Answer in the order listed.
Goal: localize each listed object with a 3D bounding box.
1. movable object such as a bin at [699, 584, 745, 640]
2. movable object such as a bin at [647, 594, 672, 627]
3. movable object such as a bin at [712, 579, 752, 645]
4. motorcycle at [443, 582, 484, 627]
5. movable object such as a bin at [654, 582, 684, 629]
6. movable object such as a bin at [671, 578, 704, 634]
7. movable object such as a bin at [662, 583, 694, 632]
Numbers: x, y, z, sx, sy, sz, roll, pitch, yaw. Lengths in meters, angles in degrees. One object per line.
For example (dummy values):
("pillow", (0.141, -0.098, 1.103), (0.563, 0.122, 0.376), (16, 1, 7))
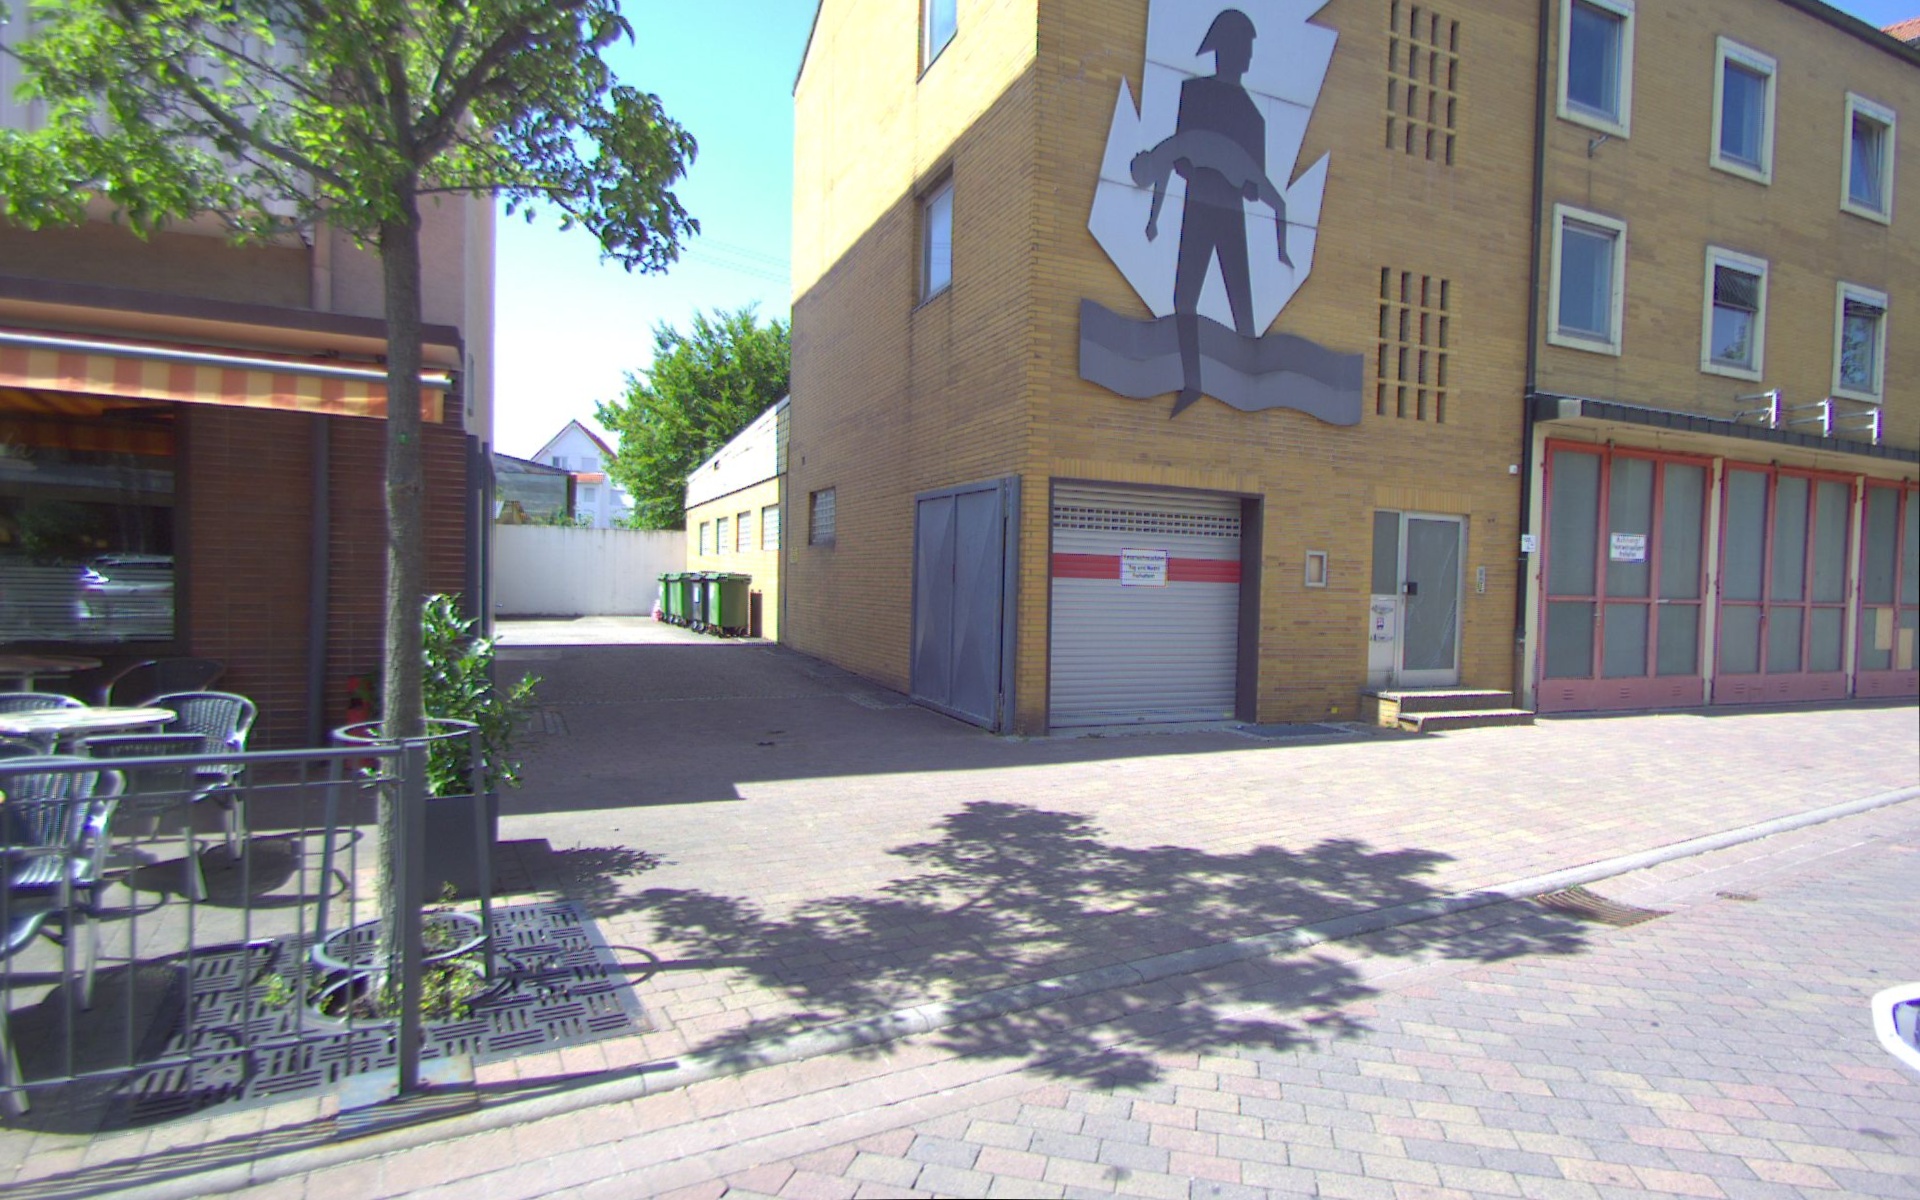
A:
("movable object such as a bin", (-5.153, 0.262, 21.728), (0.873, 1.193, 0.523), (0, 1, -26))
("movable object such as a bin", (-8.160, 0.290, 27.279), (0.613, 0.888, 0.567), (1, 1, -22))
("movable object such as a bin", (-4.660, 0.250, 20.531), (0.722, 1.325, 0.476), (0, 1, -24))
("motorcycle", (-12.985, 0.095, 26.318), (0.797, 1.123, 2.209), (1, 1, -22))
("movable object such as a bin", (-7.622, 0.140, 26.297), (0.699, 1.182, 0.691), (1, 1, -22))
("movable object such as a bin", (-6.528, 0.131, 24.050), (0.699, 1.313, 0.691), (1, 1, -22))
("movable object such as a bin", (-7.065, 0.185, 25.135), (0.699, 1.182, 0.691), (1, 1, -22))
